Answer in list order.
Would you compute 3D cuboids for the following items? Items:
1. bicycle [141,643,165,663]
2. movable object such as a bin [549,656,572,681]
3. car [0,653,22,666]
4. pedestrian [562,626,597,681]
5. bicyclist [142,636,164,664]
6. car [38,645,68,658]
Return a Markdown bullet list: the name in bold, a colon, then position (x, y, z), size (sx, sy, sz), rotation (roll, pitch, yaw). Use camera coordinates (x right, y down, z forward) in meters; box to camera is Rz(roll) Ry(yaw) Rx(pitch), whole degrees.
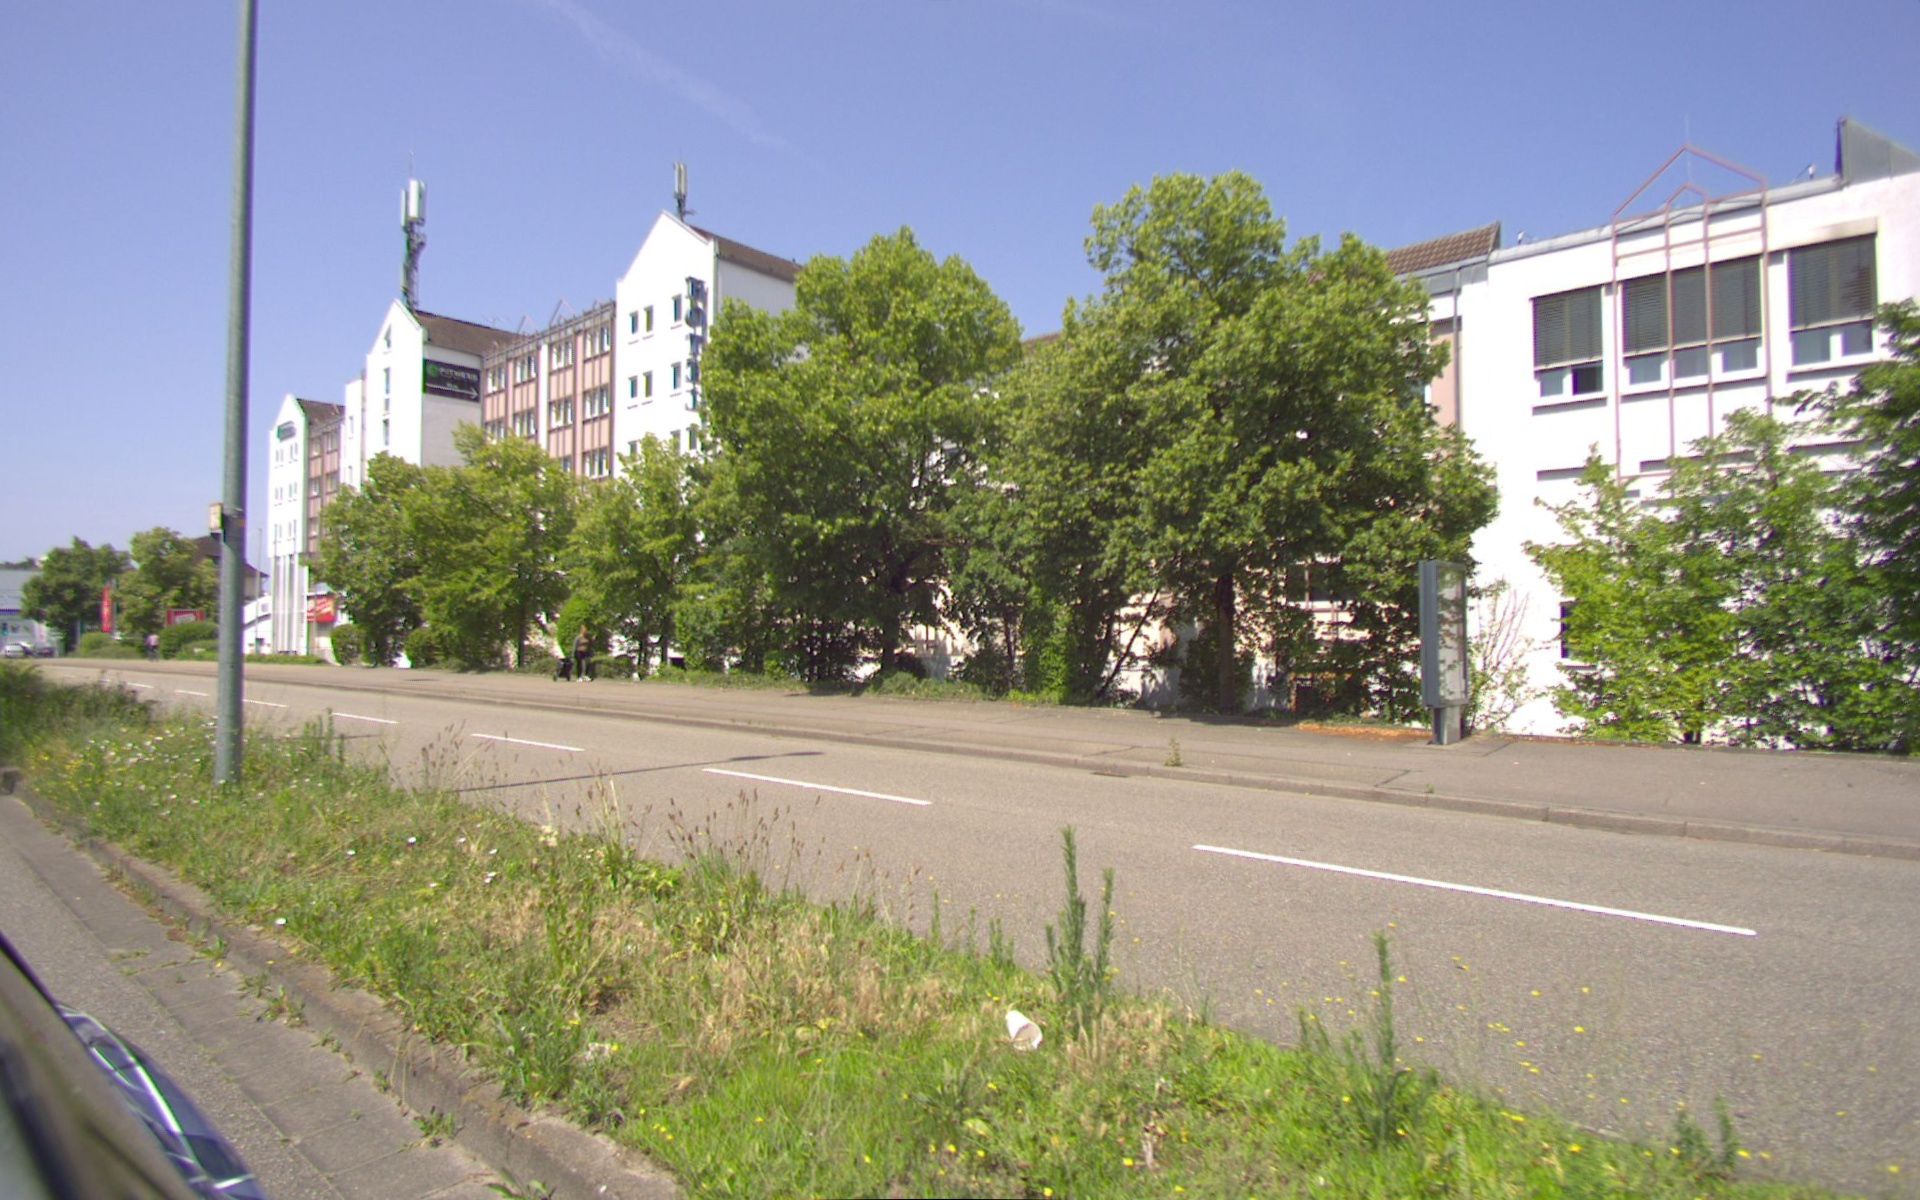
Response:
- **bicycle**: position (-45.350, 2.975, 56.862), size (2.060, 1.081, 0.545), rotation (-2, -2, 38)
- **movable object such as a bin**: position (-11.420, 1.953, 28.935), size (0.423, 0.711, 0.653), rotation (3, -3, -41)
- **car**: position (-102.352, 6.426, 109.007), size (4.761, 1.421, 1.755), rotation (-3, -5, 45)
- **pedestrian**: position (-10.910, 1.530, 29.004), size (0.727, 1.556, 0.626), rotation (-2, -3, 40)
- **bicyclist**: position (-45.341, 2.820, 56.845), size (1.025, 1.528, 0.710), rotation (-2, -3, 37)
- **car**: position (-99.468, 5.684, 110.983), size (3.995, 1.362, 1.715), rotation (-3, -4, 38)
